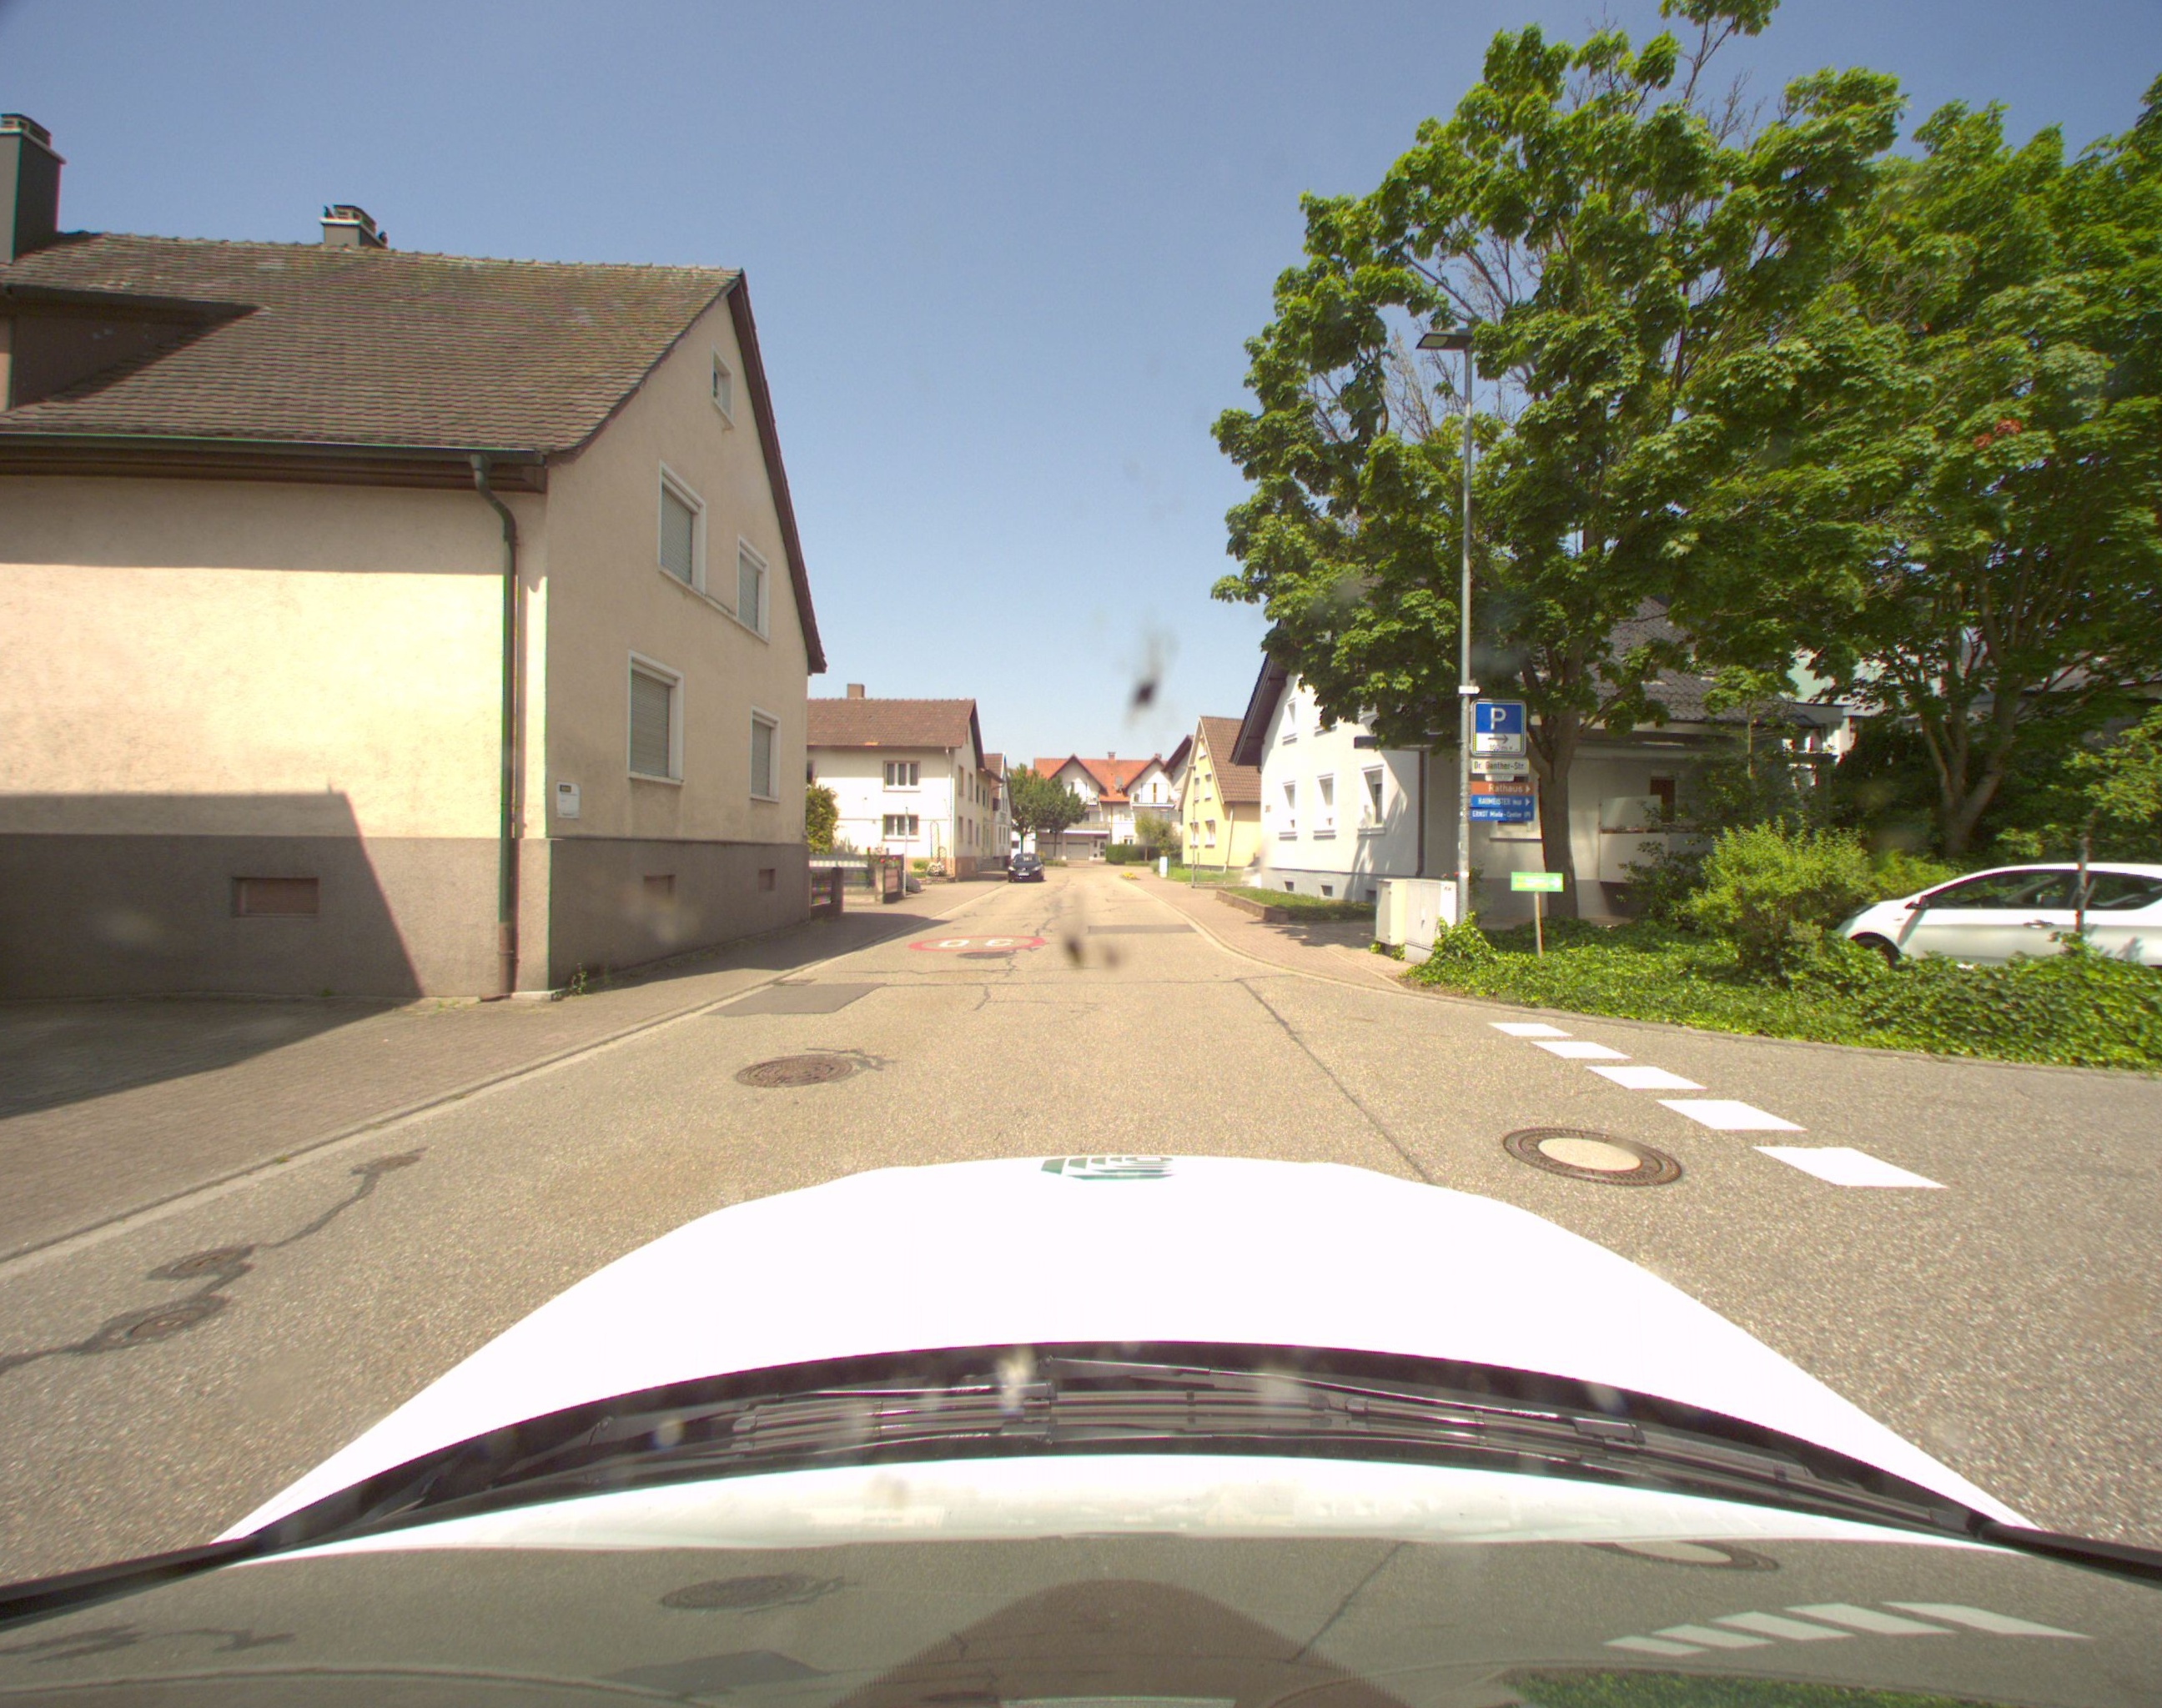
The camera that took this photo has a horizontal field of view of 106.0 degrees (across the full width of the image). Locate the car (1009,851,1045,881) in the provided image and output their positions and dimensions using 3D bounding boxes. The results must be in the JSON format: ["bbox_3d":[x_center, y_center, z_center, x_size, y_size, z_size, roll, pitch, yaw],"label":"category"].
[{"bbox_3d":[-2.752,0.587,42.129,1.622,1.486,3.998,-1,0,-1],"label":"car"}]

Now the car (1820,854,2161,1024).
[{"bbox_3d":[10.305,0.772,8.586,1.590,1.445,3.560,0,1,-7],"label":"car"}]

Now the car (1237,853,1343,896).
[{"bbox_3d":[6.817,0.655,26.699,3.040,1.345,1.419,0,-1,-7],"label":"car"}]

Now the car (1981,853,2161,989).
[{"bbox_3d":[12.866,0.781,8.892,1.590,1.473,3.854,0,1,-8],"label":"car"}]
